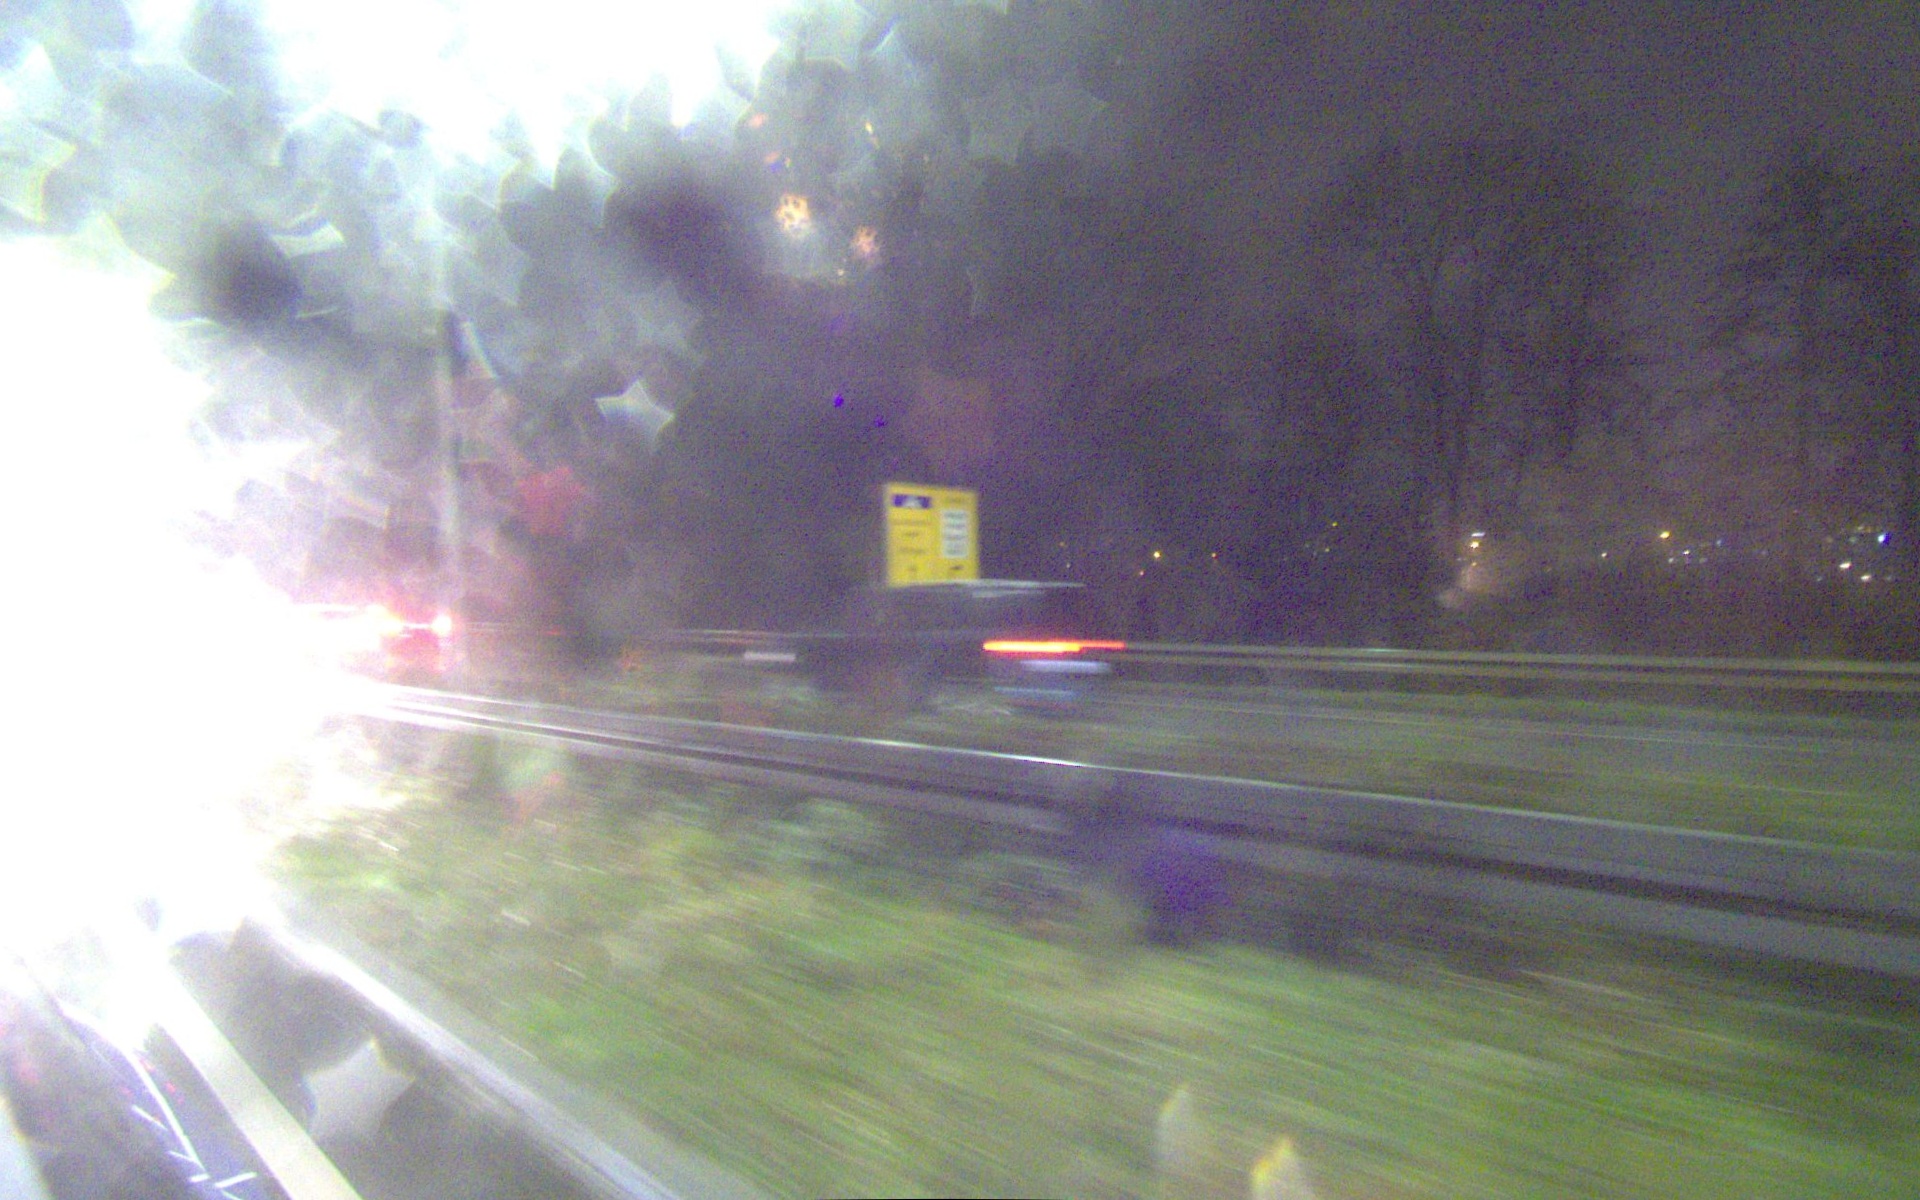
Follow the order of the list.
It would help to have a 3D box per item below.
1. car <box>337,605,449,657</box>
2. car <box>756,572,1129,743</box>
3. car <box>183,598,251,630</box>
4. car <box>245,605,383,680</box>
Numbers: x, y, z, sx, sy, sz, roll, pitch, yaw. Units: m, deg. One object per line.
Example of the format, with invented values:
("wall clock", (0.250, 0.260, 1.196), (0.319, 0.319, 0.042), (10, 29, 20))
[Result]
("car", (-17.446, 0.890, 31.056), (4.668, 1.434, 1.693), (0, 0, 43))
("car", (-0.322, 0.519, 11.901), (4.245, 1.643, 1.748), (2, 1, 38))
("car", (-37.210, 0.670, 50.656), (4.841, 1.519, 1.971), (0, 0, 44))
("car", (-15.736, 0.951, 24.579), (4.249, 1.619, 1.849), (0, 0, 43))
